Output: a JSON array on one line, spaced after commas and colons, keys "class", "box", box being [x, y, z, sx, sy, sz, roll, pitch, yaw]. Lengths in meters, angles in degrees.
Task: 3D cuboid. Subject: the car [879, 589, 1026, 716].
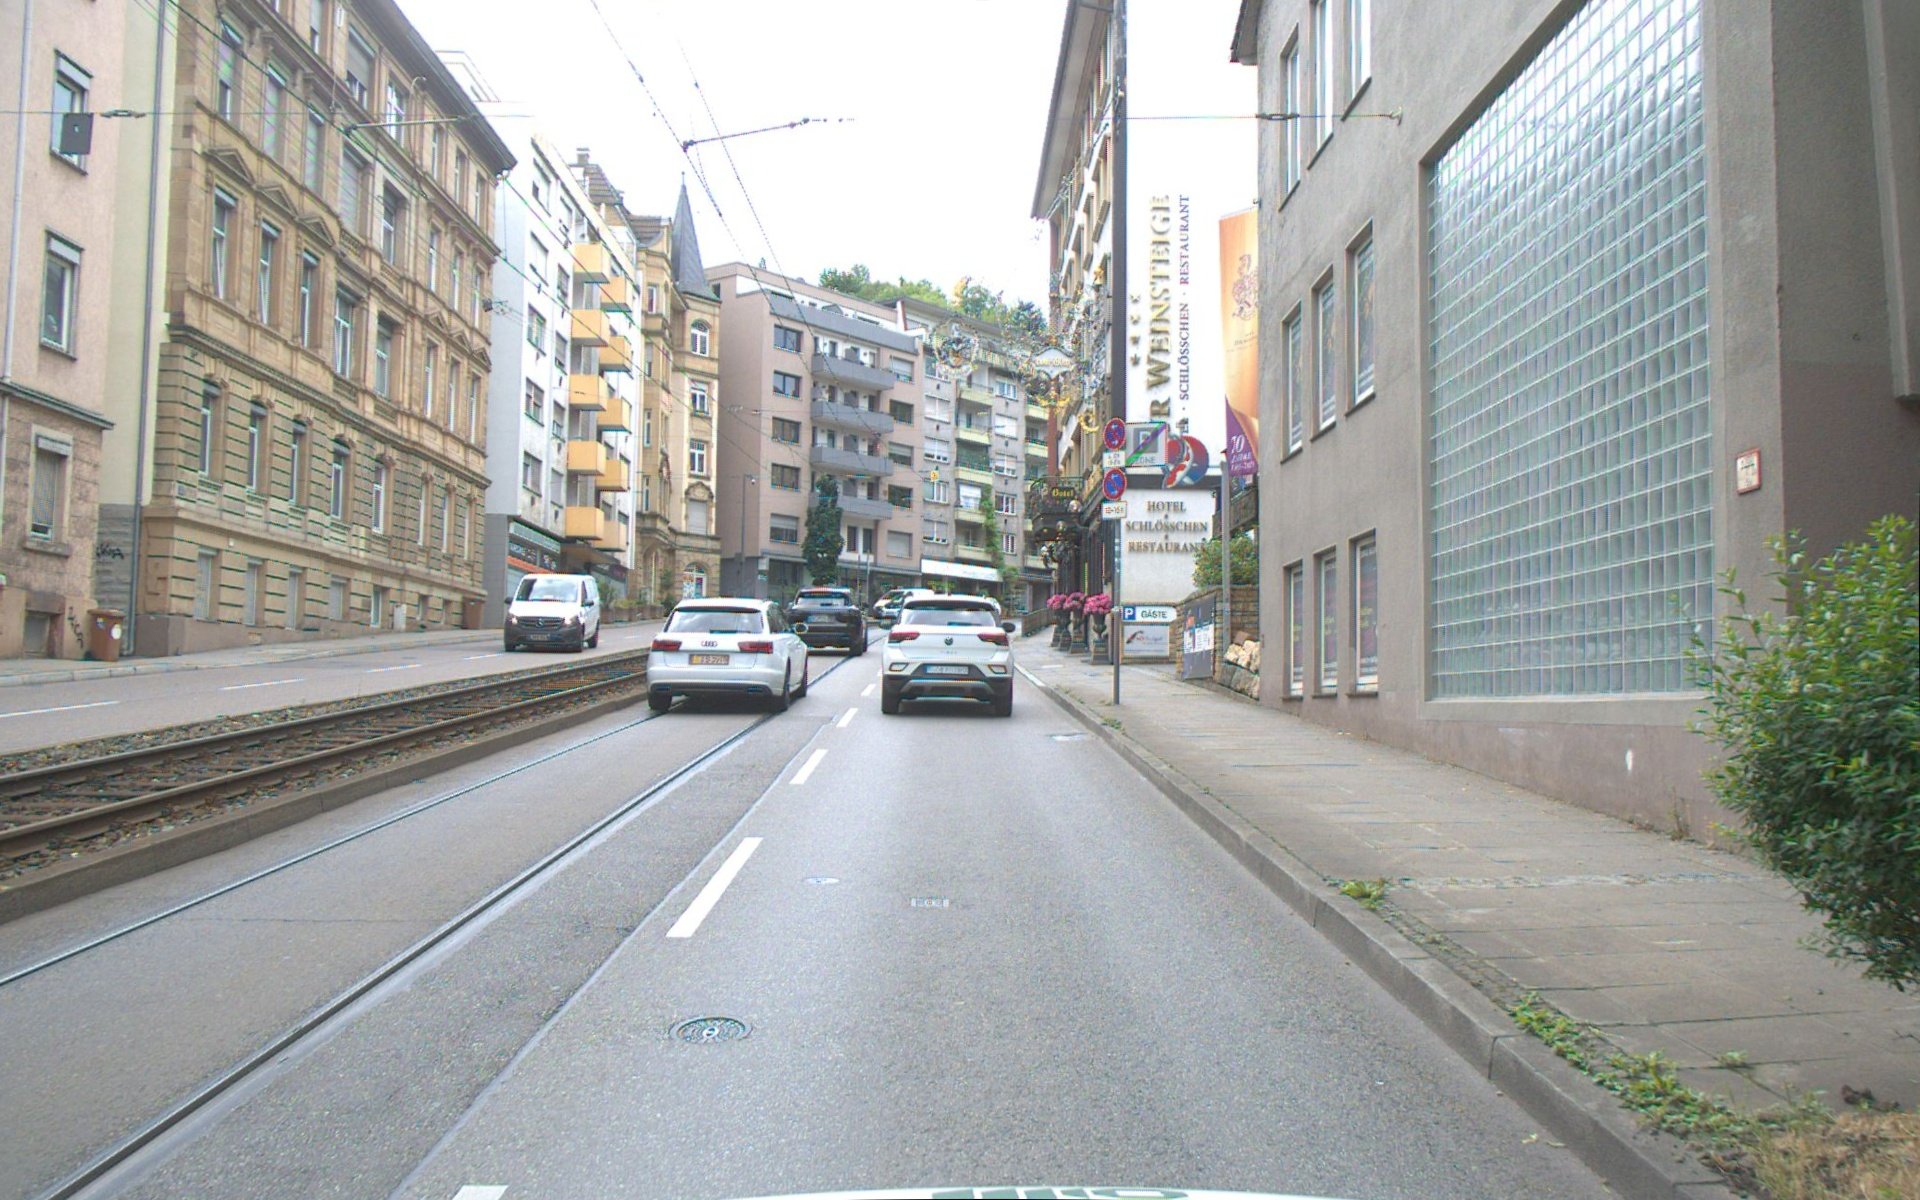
[{"class": "car", "box": [-0.113, 0.668, 23.014, 1.840, 1.582, 3.999, 1, 0, -1]}]

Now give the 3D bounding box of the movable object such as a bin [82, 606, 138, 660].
[{"class": "movable object such as a bin", "box": [-15.422, 0.592, 30.022, 0.616, 0.926, 0.676, 4, 0, -1]}]

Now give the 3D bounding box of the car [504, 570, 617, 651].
[{"class": "car", "box": [-10.183, 0.234, 42.528, 1.918, 1.933, 5.314, 1, 0, -4]}]

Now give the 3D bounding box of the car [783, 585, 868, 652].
[{"class": "car", "box": [-3.364, 0.437, 41.950, 1.997, 1.599, 4.355, 1, 0, -3]}]

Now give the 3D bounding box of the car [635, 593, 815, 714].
[{"class": "car", "box": [-3.132, 0.659, 22.935, 1.840, 1.480, 4.617, 1, 0, 0]}]

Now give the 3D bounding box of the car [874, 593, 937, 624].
[{"class": "car", "box": [-3.253, 0.510, 99.373, 1.763, 1.758, 3.987, 1, 0, 34]}]

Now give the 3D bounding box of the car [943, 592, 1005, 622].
[{"class": "car", "box": [0.933, 0.459, 109.963, 1.872, 1.956, 4.417, 1, 0, 37]}]

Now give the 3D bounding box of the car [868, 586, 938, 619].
[{"class": "car", "box": [-3.612, 0.166, 105.316, 1.961, 2.071, 4.681, 1, 0, 37]}]

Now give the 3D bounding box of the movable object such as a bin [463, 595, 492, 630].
[{"class": "movable object such as a bin", "box": [-15.421, 0.389, 52.863, 0.754, 1.092, 0.561, 1, 0, -1]}]
